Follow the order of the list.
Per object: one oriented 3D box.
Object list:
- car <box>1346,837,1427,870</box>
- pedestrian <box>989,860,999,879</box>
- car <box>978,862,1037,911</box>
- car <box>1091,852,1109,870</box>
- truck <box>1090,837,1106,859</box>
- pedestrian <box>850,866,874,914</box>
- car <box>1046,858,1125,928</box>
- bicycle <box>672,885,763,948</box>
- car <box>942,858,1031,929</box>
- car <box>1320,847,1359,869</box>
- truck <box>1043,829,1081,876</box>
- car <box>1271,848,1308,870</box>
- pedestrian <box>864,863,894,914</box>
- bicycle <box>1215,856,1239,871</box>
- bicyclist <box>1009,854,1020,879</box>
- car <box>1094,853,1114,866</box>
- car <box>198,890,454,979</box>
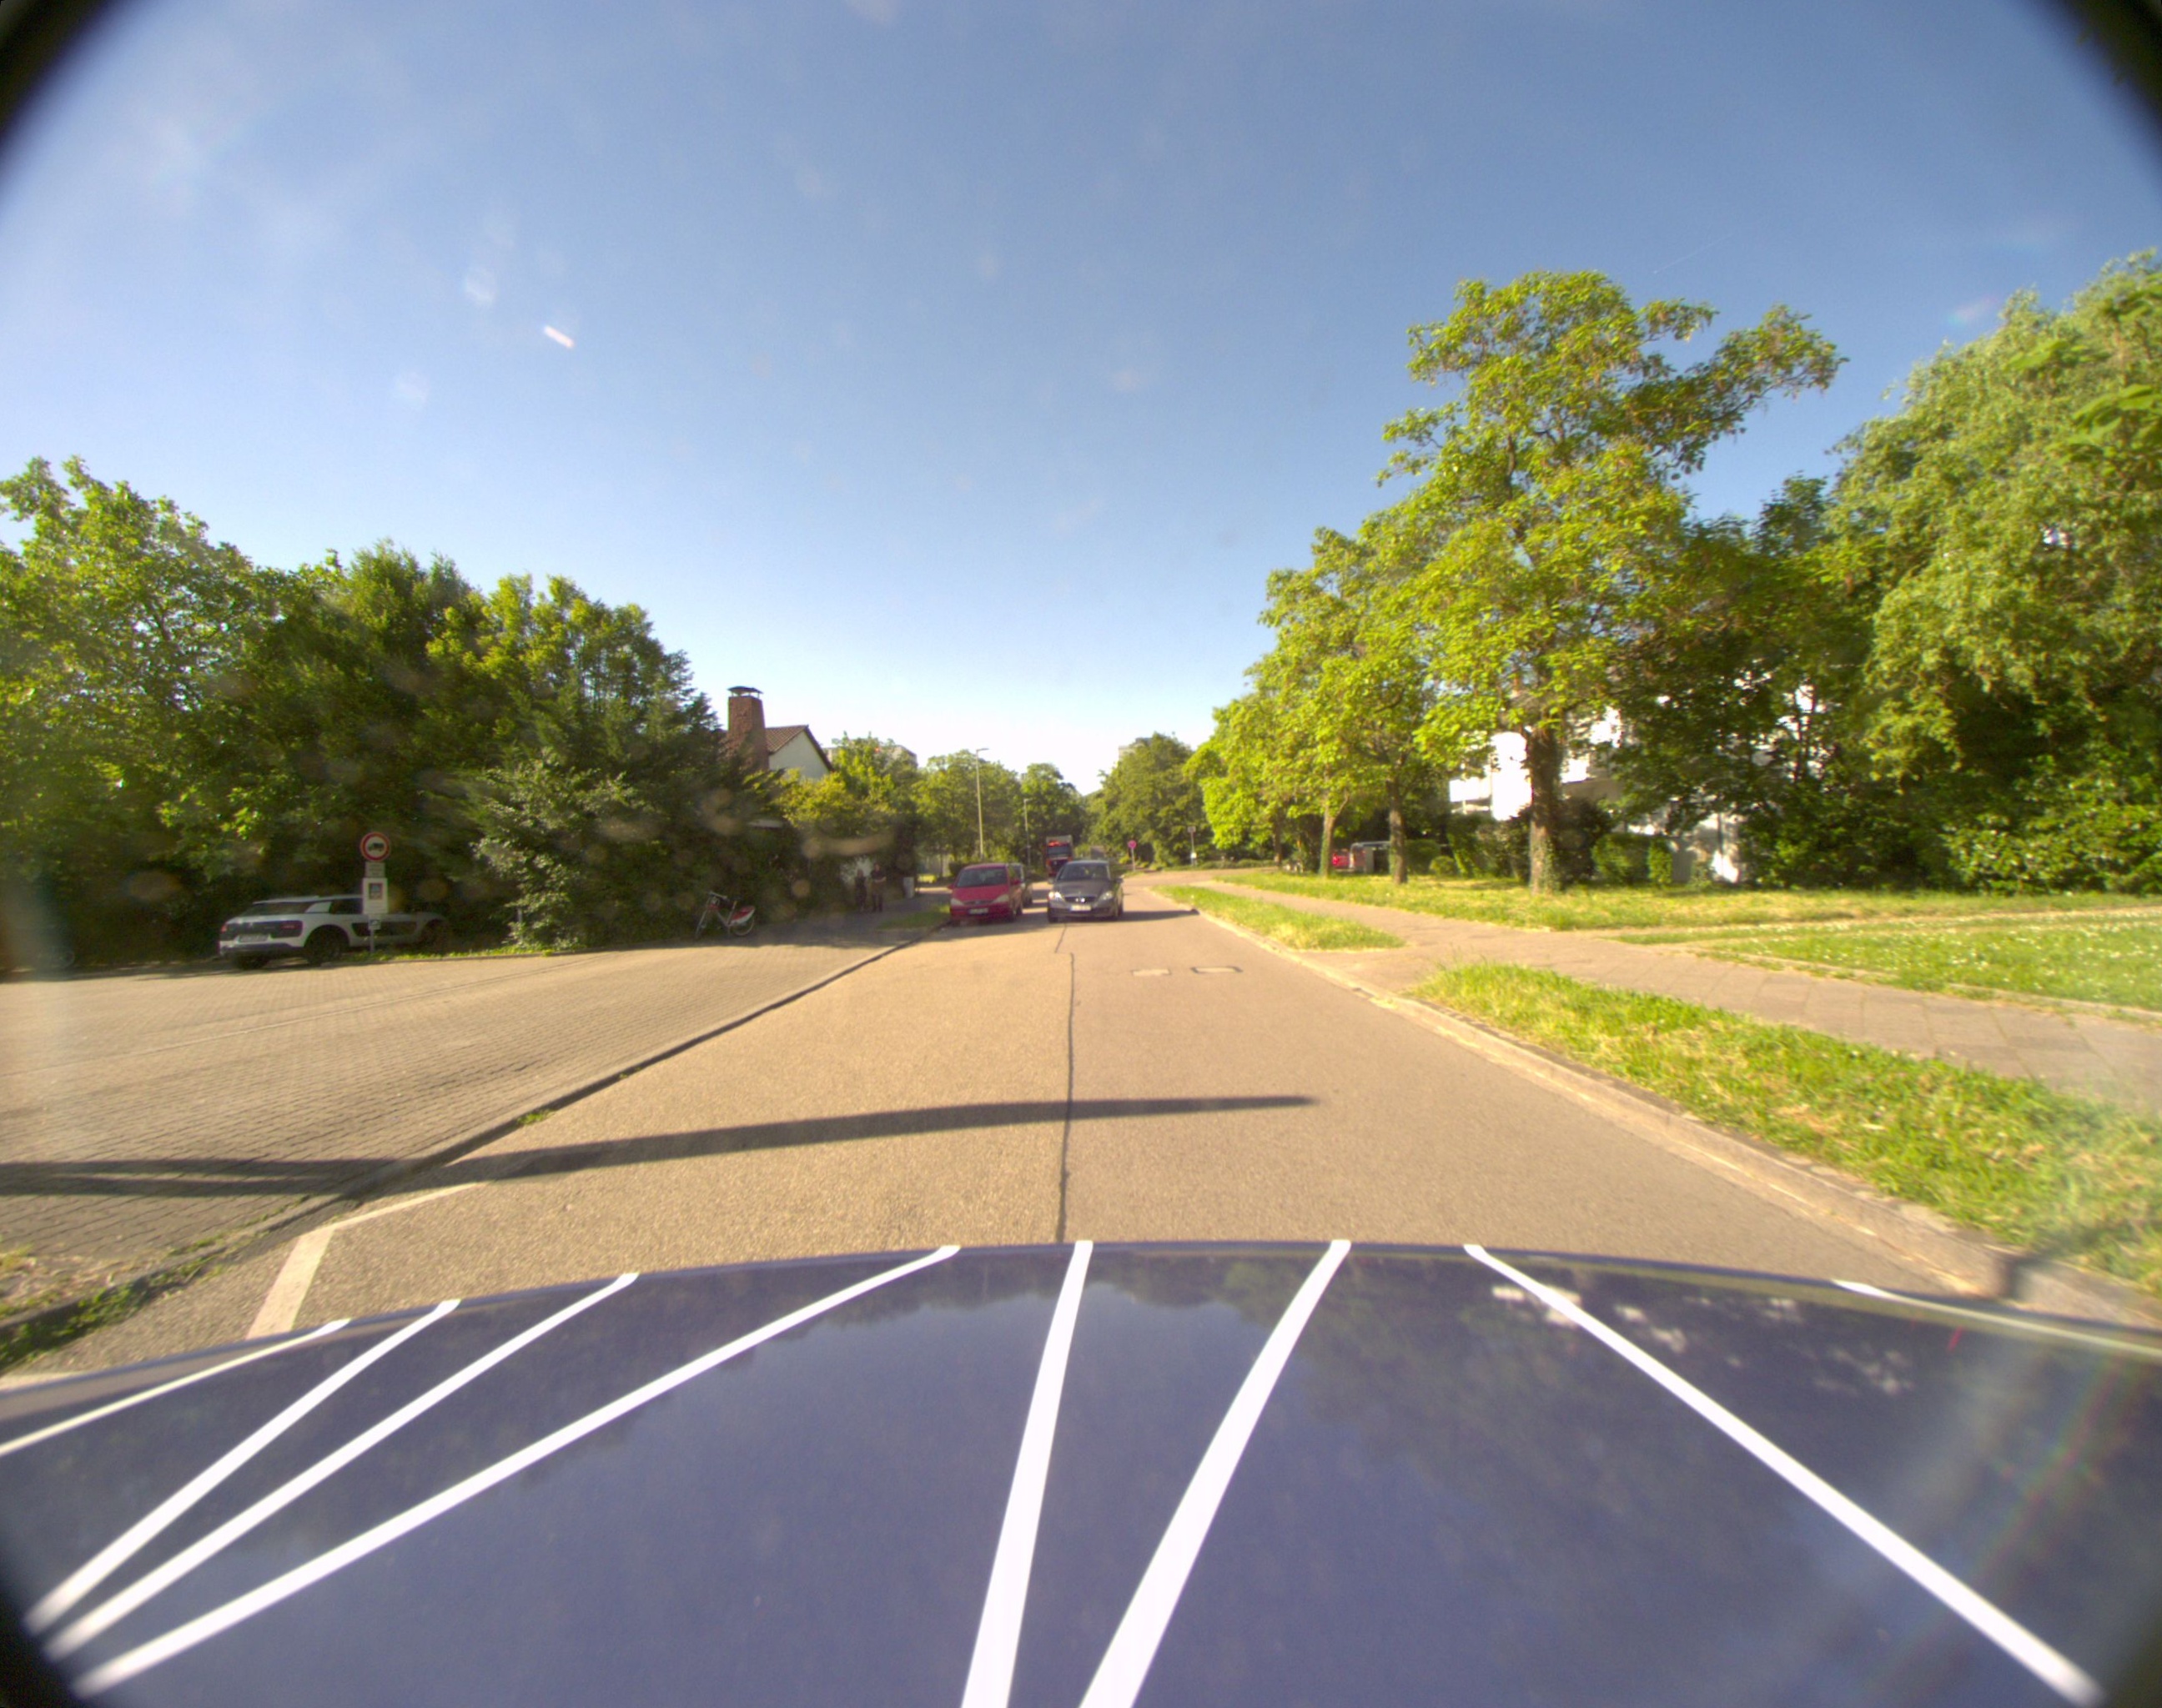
[{"bbox_3d":[20.118,0.004,50.137,4.461,1.957,2.069,-2,-1,3],"label":"car"},{"bbox_3d":[-7.537,1.346,65.877,0.641,1.629,0.641,-3,1,3],"label":"pedestrian"},{"bbox_3d":[-2.773,1.190,29.480,1.729,1.646,4.353,-3,0,0],"label":"car"},{"bbox_3d":[2.127,0.743,84.686,1.845,1.795,4.029,-3,0,0],"label":"car"},{"bbox_3d":[3.157,-1.218,142.130,2.803,3.996,9.624,-1,1,1],"label":"truck"},{"bbox_3d":[-7.697,1.260,26.742,0.574,1.600,0.792,-1,2,-3],"label":"pedestrian"},{"bbox_3d":[0.122,0.963,20.594,1.855,1.635,3.756,-3,0,0],"label":"car"},{"bbox_3d":[-8.199,1.380,17.247,0.721,1.214,1.898,-1,1,17],"label":"bicycle"},{"bbox_3d":[-2.681,1.075,22.594,1.844,1.795,4.654,-3,0,2],"label":"car"},{"bbox_3d":[20.019,0.275,58.970,1.674,1.478,3.884,-3,2,0],"label":"car"},{"bbox_3d":[-1.807,-0.185,77.813,3.166,4.319,10.583,-3,0,1],"label":"truck"},{"bbox_3d":[16.123,0.376,58.895,1.674,1.478,3.884,-3,2,0],"label":"car"},{"bbox_3d":[-7.073,1.195,26.645,0.806,1.707,0.983,-1,2,-3],"label":"pedestrian"},{"bbox_3d":[12.271,0.814,63.854,1.902,1.146,0.760,-3,4,11],"label":"bicycle"},{"bbox_3d":[-5.542,1.031,63.688,0.753,2.002,0.711,-3,0,-1],"label":"bicyclist"},{"bbox_3d":[2.767,0.707,93.667,1.667,1.458,4.185,-1,1,-9],"label":"car"},{"bbox_3d":[-16.388,1.673,16.813,1.777,1.494,3.802,-3,0,1],"label":"car"}]
